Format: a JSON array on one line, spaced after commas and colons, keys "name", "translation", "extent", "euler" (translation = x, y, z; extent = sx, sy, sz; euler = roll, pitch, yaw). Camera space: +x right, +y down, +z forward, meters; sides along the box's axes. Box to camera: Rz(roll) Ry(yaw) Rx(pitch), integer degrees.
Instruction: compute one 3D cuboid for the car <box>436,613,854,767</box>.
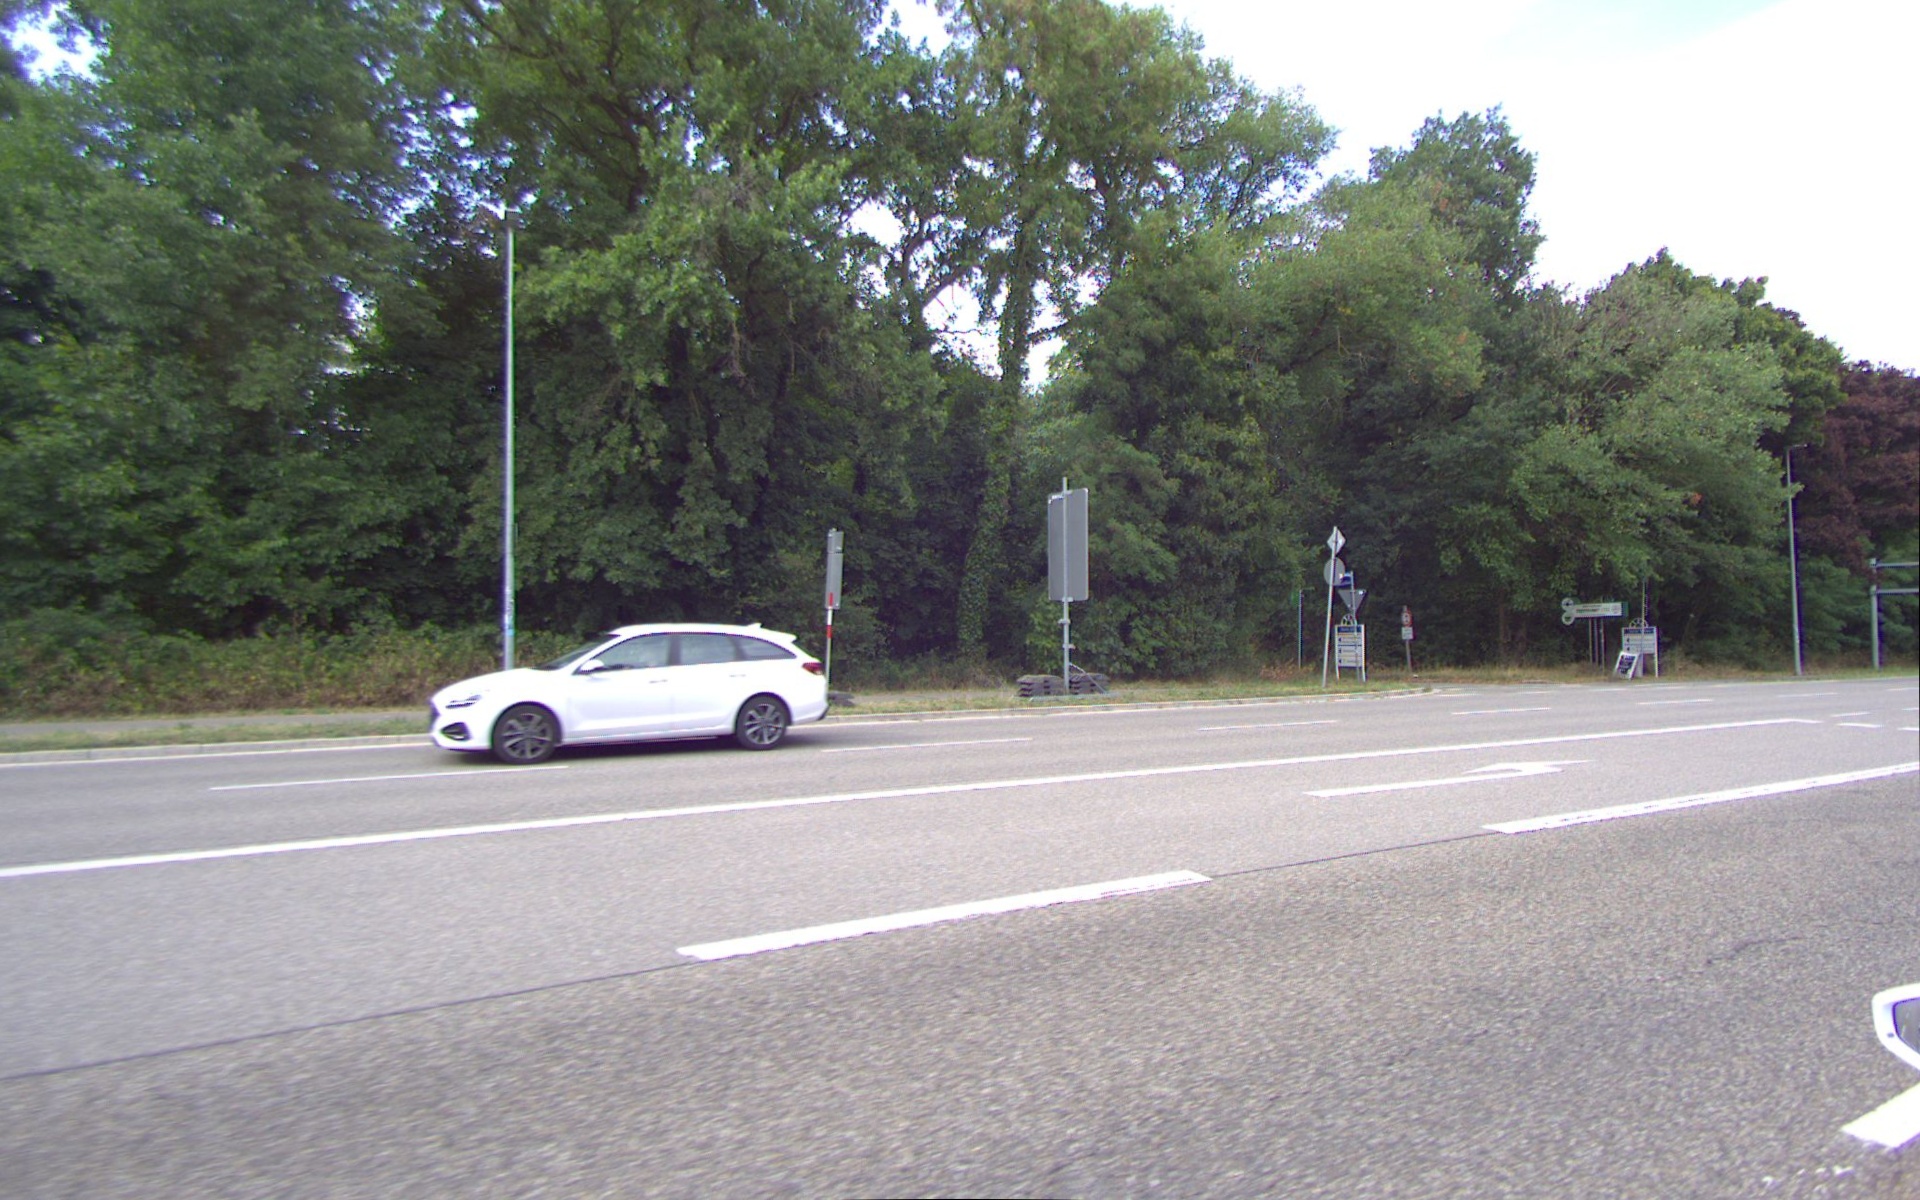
[{"name": "car", "translation": [-3.755, 0.993, 12.149], "extent": [4.535, 1.520, 1.926], "euler": [2, 0, -29]}]
